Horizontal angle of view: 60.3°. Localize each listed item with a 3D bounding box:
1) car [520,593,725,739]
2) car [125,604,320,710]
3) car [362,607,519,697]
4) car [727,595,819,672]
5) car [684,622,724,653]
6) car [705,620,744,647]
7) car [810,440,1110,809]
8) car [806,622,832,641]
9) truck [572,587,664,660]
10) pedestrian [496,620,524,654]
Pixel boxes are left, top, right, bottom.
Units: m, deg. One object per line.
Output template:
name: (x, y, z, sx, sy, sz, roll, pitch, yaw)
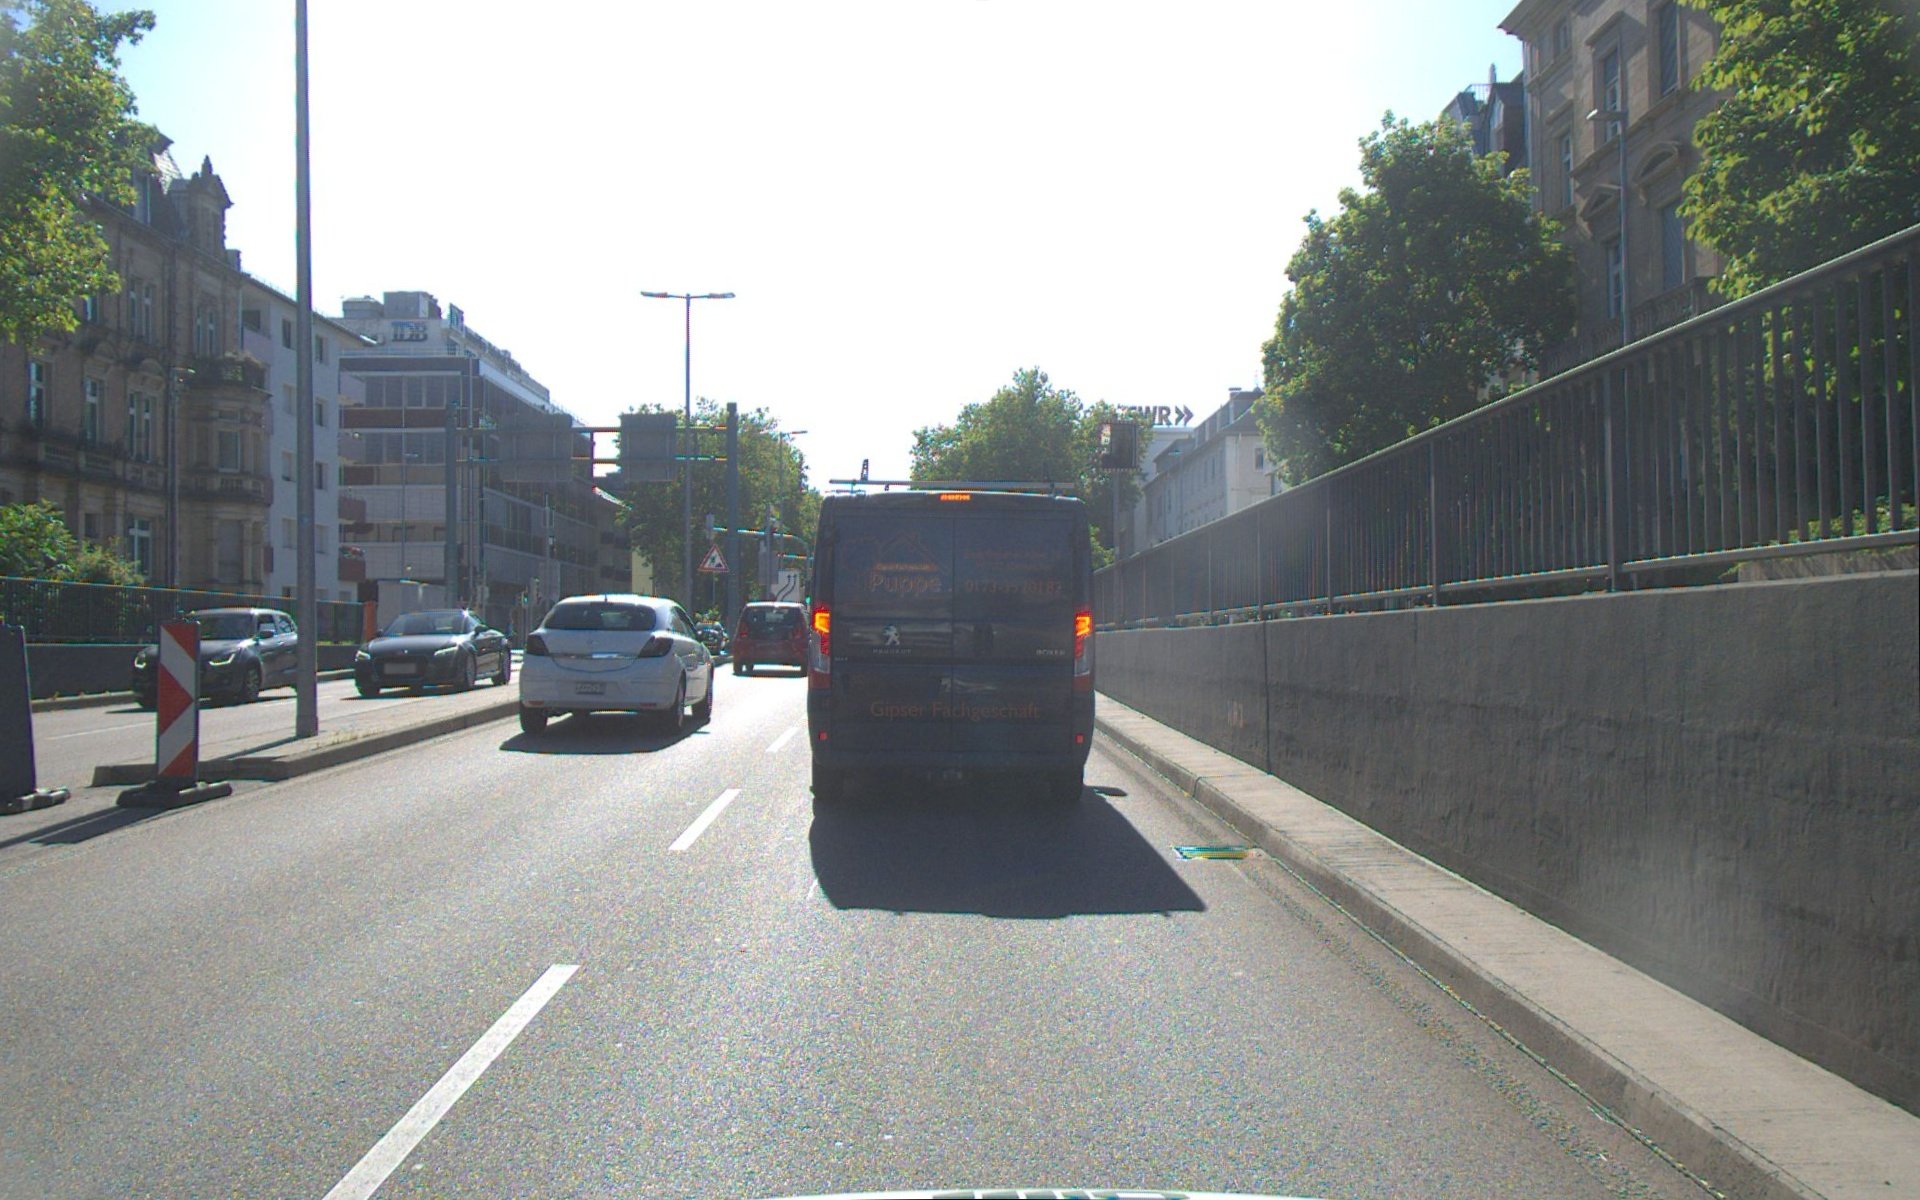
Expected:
car: (-3.665, 0.655, 18.539, 1.586, 1.428, 3.850, 1, 0, -2)
car: (-11.699, 0.854, 26.501, 1.508, 1.490, 3.716, -3, 0, -2)
car: (-8.745, 0.834, 28.160, 1.508, 1.322, 3.926, -3, 0, -2)
car: (-3.943, 0.677, 35.308, 1.655, 1.509, 3.317, 1, 0, -2)
car: (-13.166, 1.922, 85.243, 1.559, 1.470, 3.494, -3, -1, -2)
car: (-14.490, 2.038, 102.017, 1.897, 1.582, 3.922, 1, -1, -1)
car: (-0.048, 0.191, 12.997, 1.989, 2.445, 3.971, 0, -1, -2)
car: (-11.803, 2.637, 138.338, 1.897, 1.582, 3.922, 1, -1, -1)
truck: (-12.860, 0.906, 62.577, 2.183, 2.572, 6.127, -2, -1, -1)
pedestrian: (-26.507, 2.168, 97.440, 1.305, 1.965, 1.025, 1, -1, -2)
